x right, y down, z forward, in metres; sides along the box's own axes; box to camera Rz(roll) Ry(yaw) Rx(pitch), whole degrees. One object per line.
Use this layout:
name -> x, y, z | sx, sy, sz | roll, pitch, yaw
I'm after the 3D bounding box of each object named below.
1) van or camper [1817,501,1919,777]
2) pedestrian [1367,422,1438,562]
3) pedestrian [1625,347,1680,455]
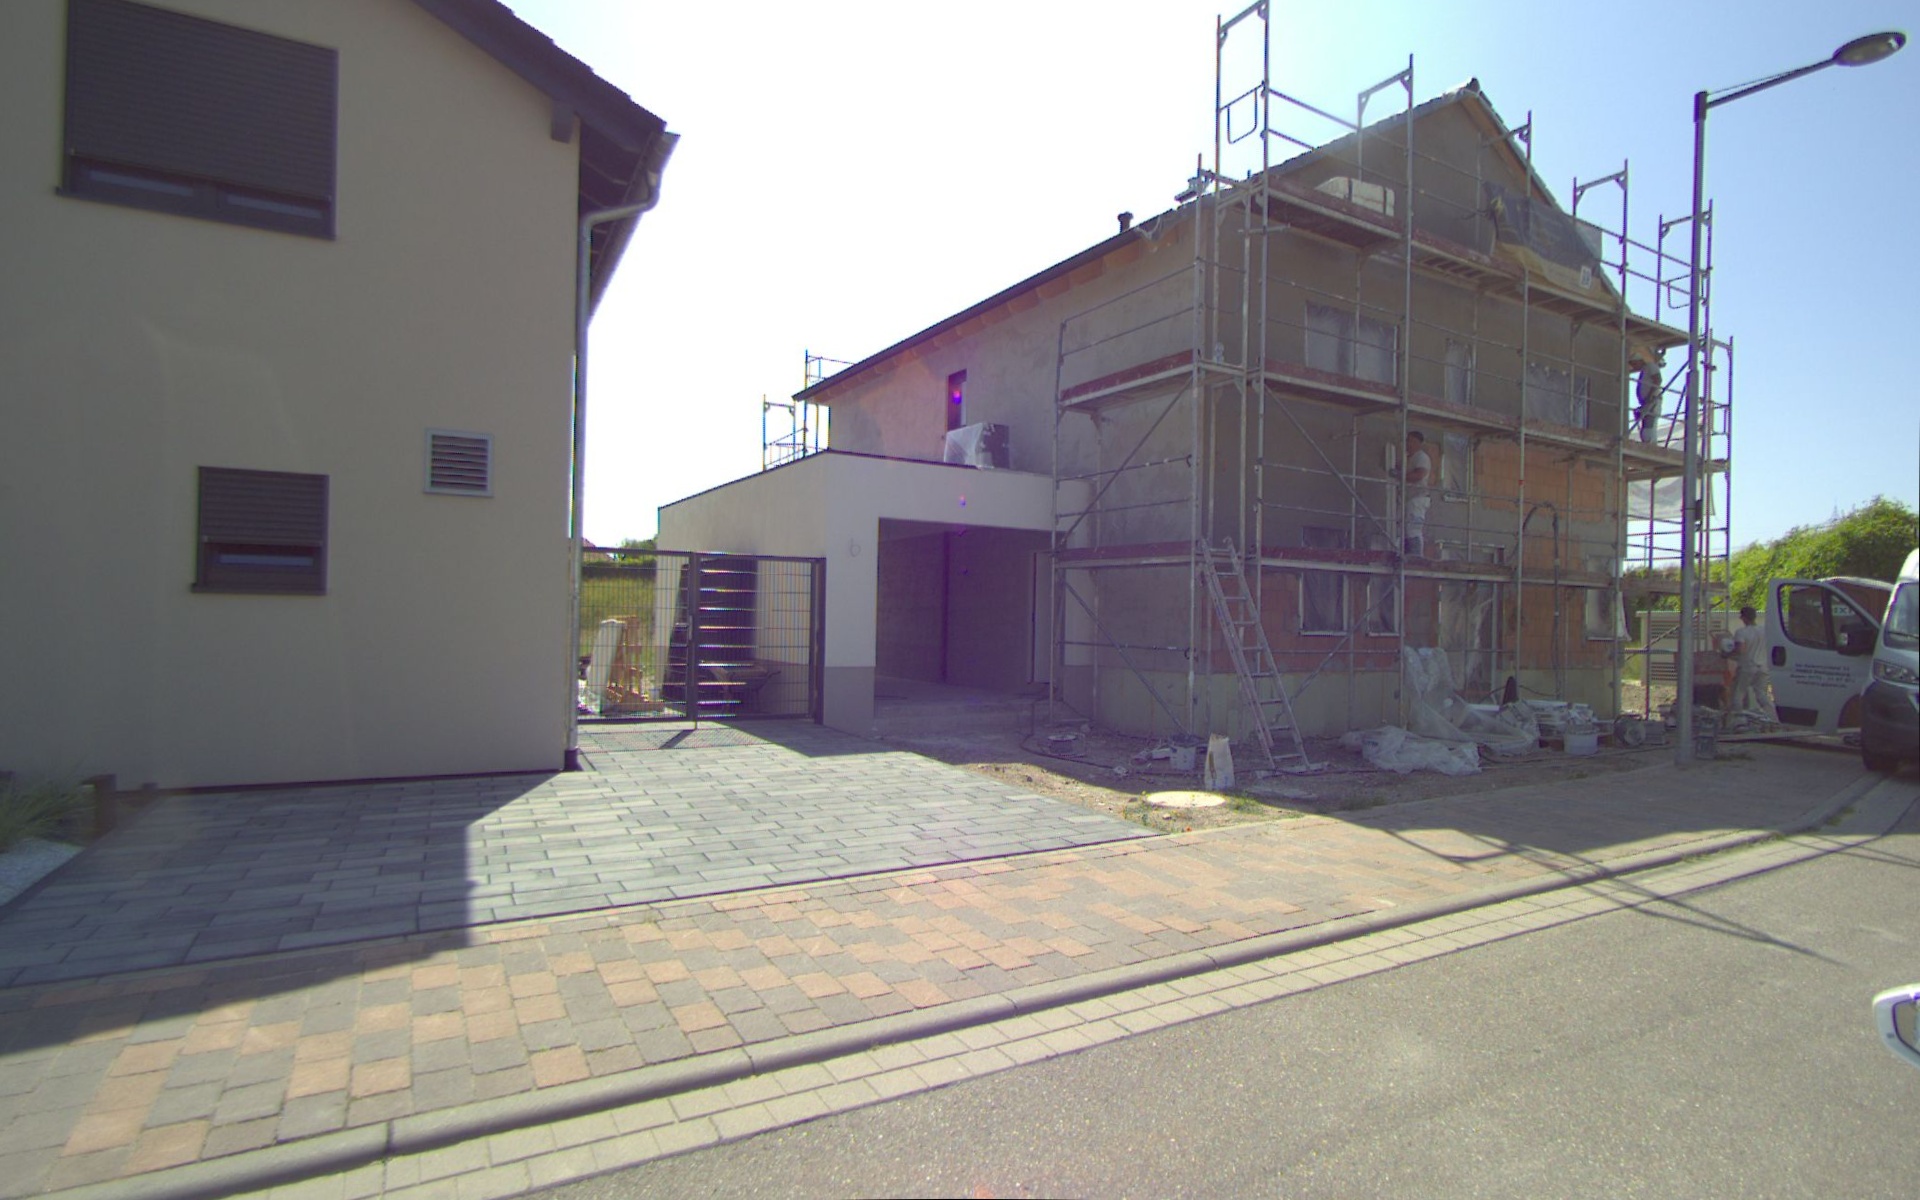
van or camper -> 11.758, 0.468, 11.037 | 6.308, 2.587, 2.256 | 2, -2, -37
pedestrian -> 5.661, -1.367, 12.867 | 0.733, 1.701, 0.578 | 2, -2, 18
pedestrian -> 10.958, -3.130, 15.905 | 0.552, 1.519, 0.748 | 2, -2, 23
